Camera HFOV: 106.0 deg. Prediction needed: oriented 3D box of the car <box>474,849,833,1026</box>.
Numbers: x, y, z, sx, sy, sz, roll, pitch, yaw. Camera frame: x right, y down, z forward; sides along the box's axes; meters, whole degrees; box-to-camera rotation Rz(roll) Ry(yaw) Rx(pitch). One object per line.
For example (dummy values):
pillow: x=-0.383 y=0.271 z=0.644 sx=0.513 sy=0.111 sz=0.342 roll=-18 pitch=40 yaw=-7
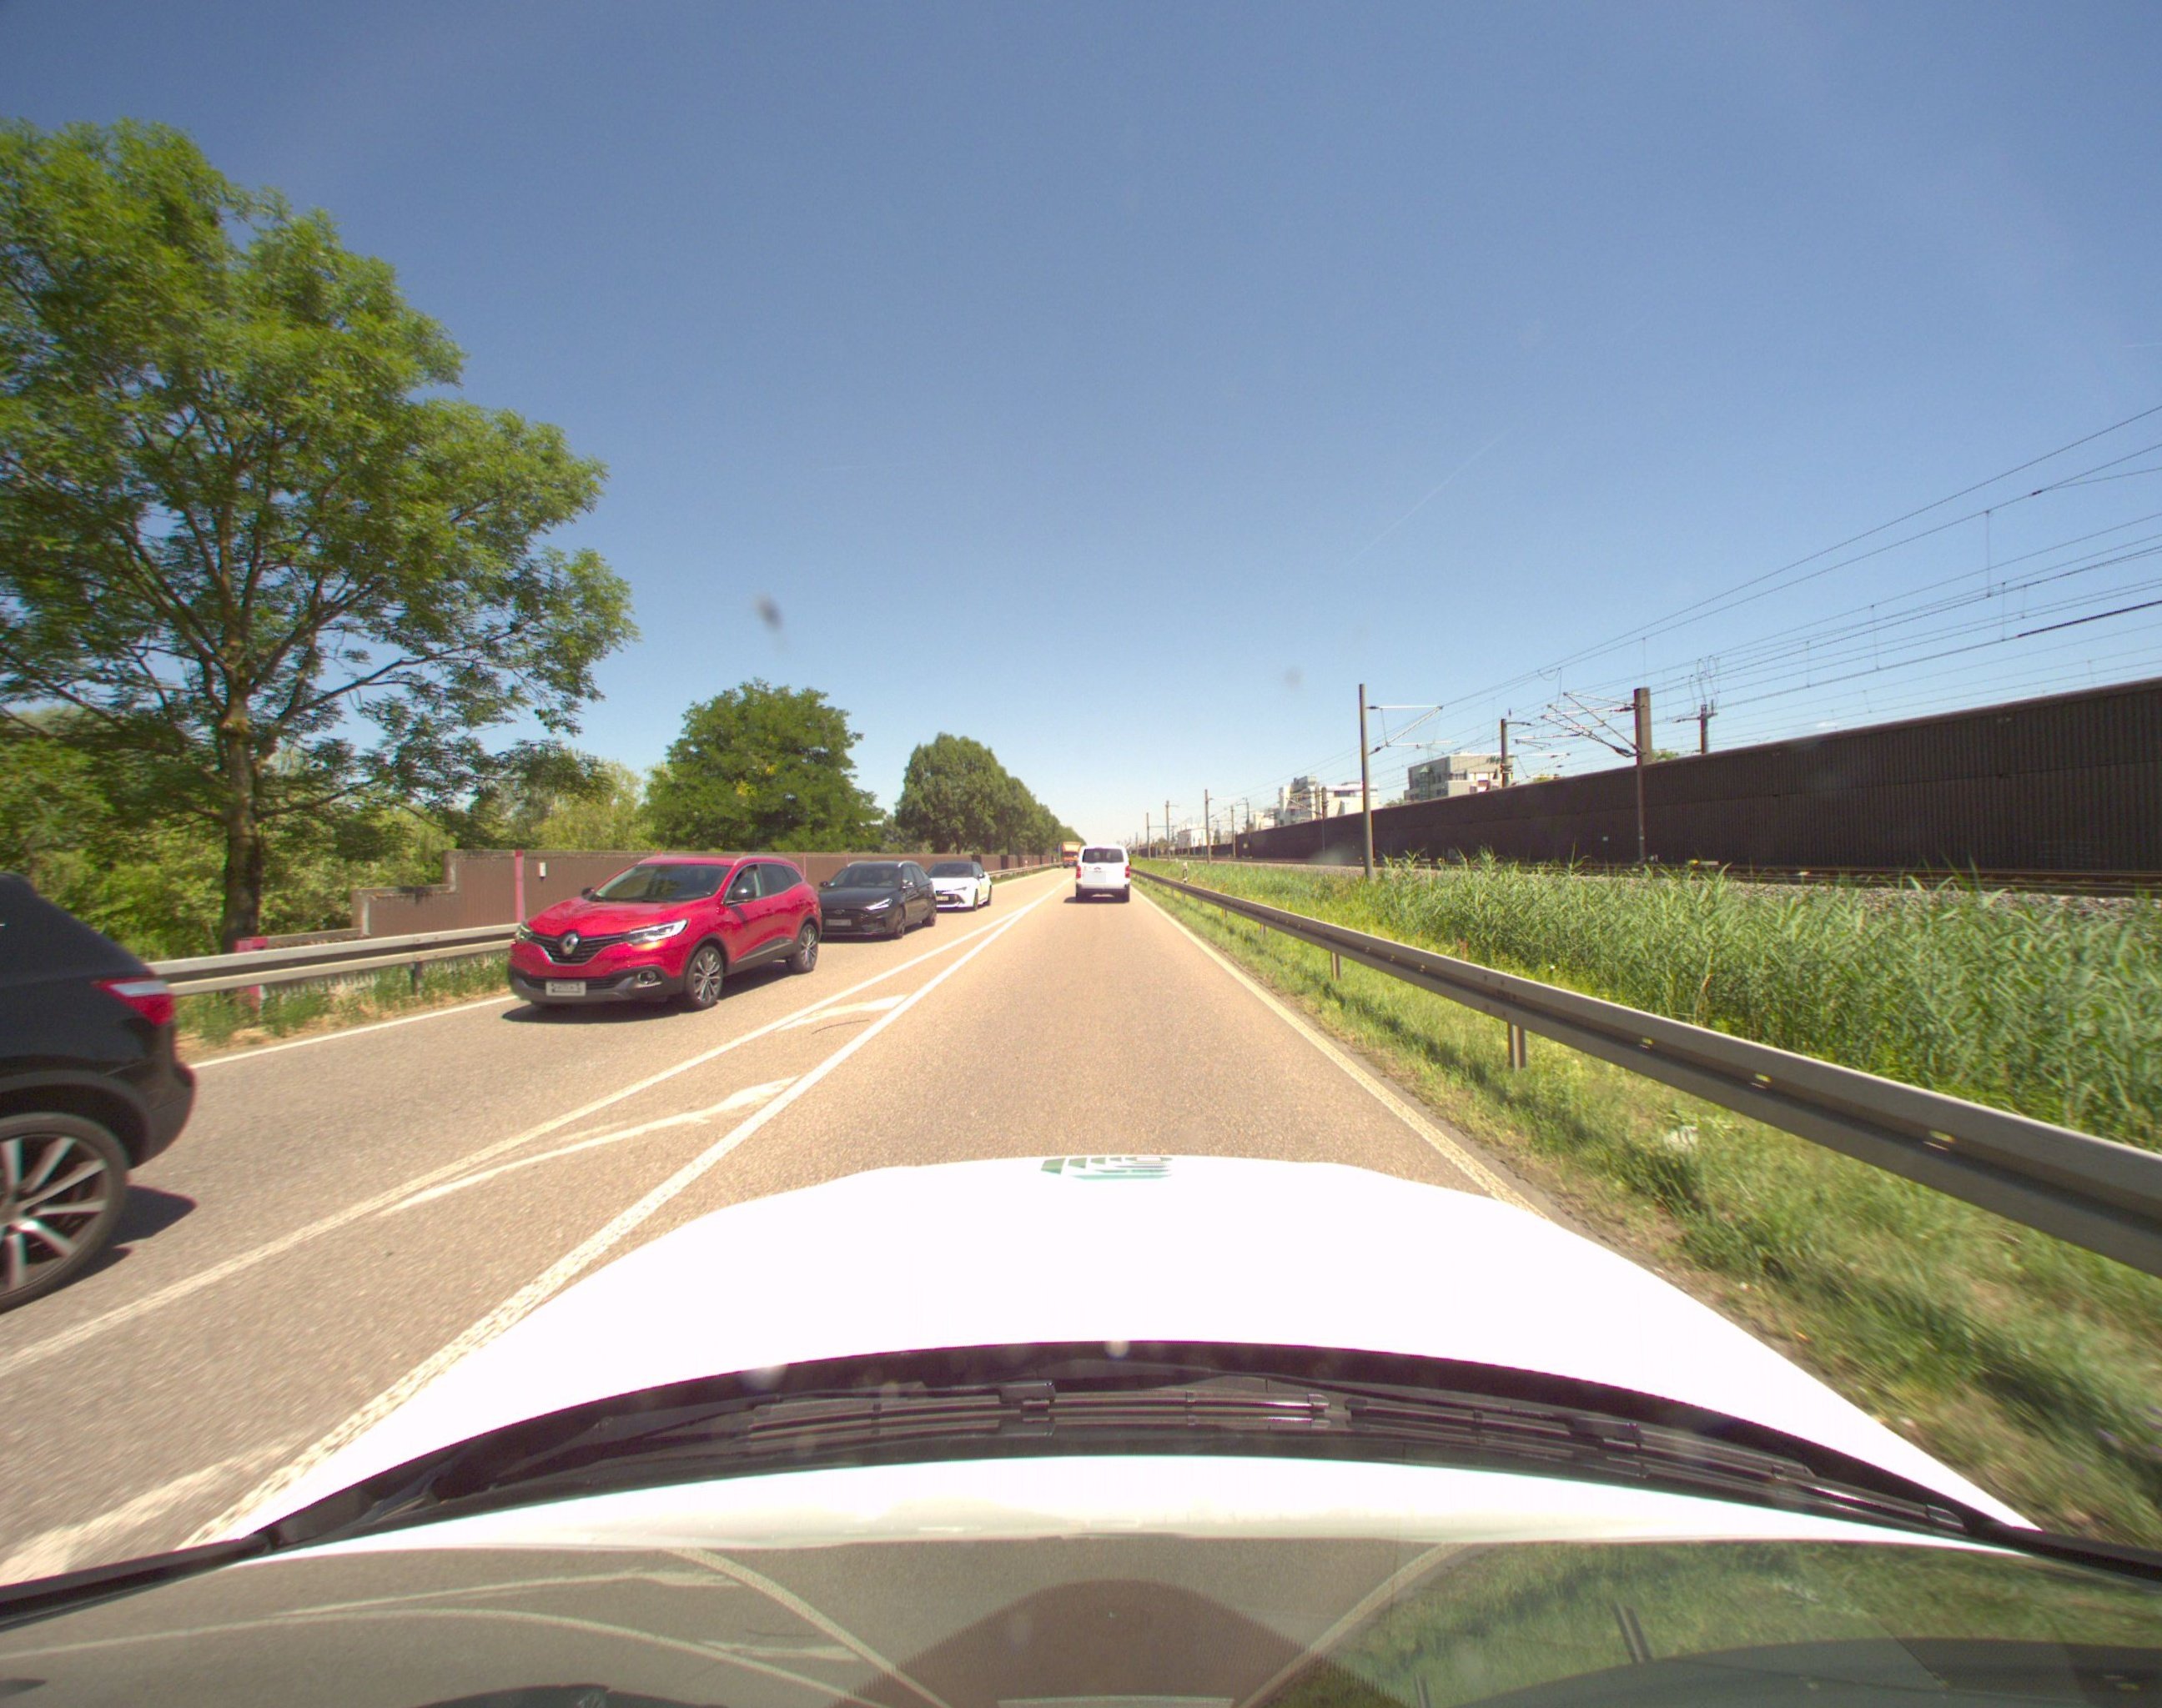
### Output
car: x=-4.623 y=0.776 z=9.683 sx=1.747 sy=1.631 sz=4.284 roll=0 pitch=0 yaw=4

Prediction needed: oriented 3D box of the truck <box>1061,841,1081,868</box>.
truck: x=-1.491 y=0.088 z=124.609 sx=2.782 sy=3.840 sz=9.326 roll=-1 pitch=0 yaw=1

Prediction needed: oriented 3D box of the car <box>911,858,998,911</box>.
car: x=-3.698 y=0.845 z=24.543 sx=1.678 sy=1.460 sz=4.619 roll=0 pitch=0 yaw=3

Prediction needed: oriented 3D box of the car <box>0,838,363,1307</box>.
car: x=-4.603 y=0.746 z=1.831 sx=1.708 sy=1.589 sz=4.540 roll=0 pitch=0 yaw=5

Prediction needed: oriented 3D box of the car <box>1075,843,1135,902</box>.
car: x=0.838 y=0.627 z=29.069 sx=1.939 sy=1.881 sz=4.881 roll=-1 pitch=-1 yaw=1

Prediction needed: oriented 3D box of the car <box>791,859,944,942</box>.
car: x=-4.176 y=0.837 z=16.715 sx=1.678 sy=1.460 sz=4.620 roll=0 pitch=0 yaw=3
